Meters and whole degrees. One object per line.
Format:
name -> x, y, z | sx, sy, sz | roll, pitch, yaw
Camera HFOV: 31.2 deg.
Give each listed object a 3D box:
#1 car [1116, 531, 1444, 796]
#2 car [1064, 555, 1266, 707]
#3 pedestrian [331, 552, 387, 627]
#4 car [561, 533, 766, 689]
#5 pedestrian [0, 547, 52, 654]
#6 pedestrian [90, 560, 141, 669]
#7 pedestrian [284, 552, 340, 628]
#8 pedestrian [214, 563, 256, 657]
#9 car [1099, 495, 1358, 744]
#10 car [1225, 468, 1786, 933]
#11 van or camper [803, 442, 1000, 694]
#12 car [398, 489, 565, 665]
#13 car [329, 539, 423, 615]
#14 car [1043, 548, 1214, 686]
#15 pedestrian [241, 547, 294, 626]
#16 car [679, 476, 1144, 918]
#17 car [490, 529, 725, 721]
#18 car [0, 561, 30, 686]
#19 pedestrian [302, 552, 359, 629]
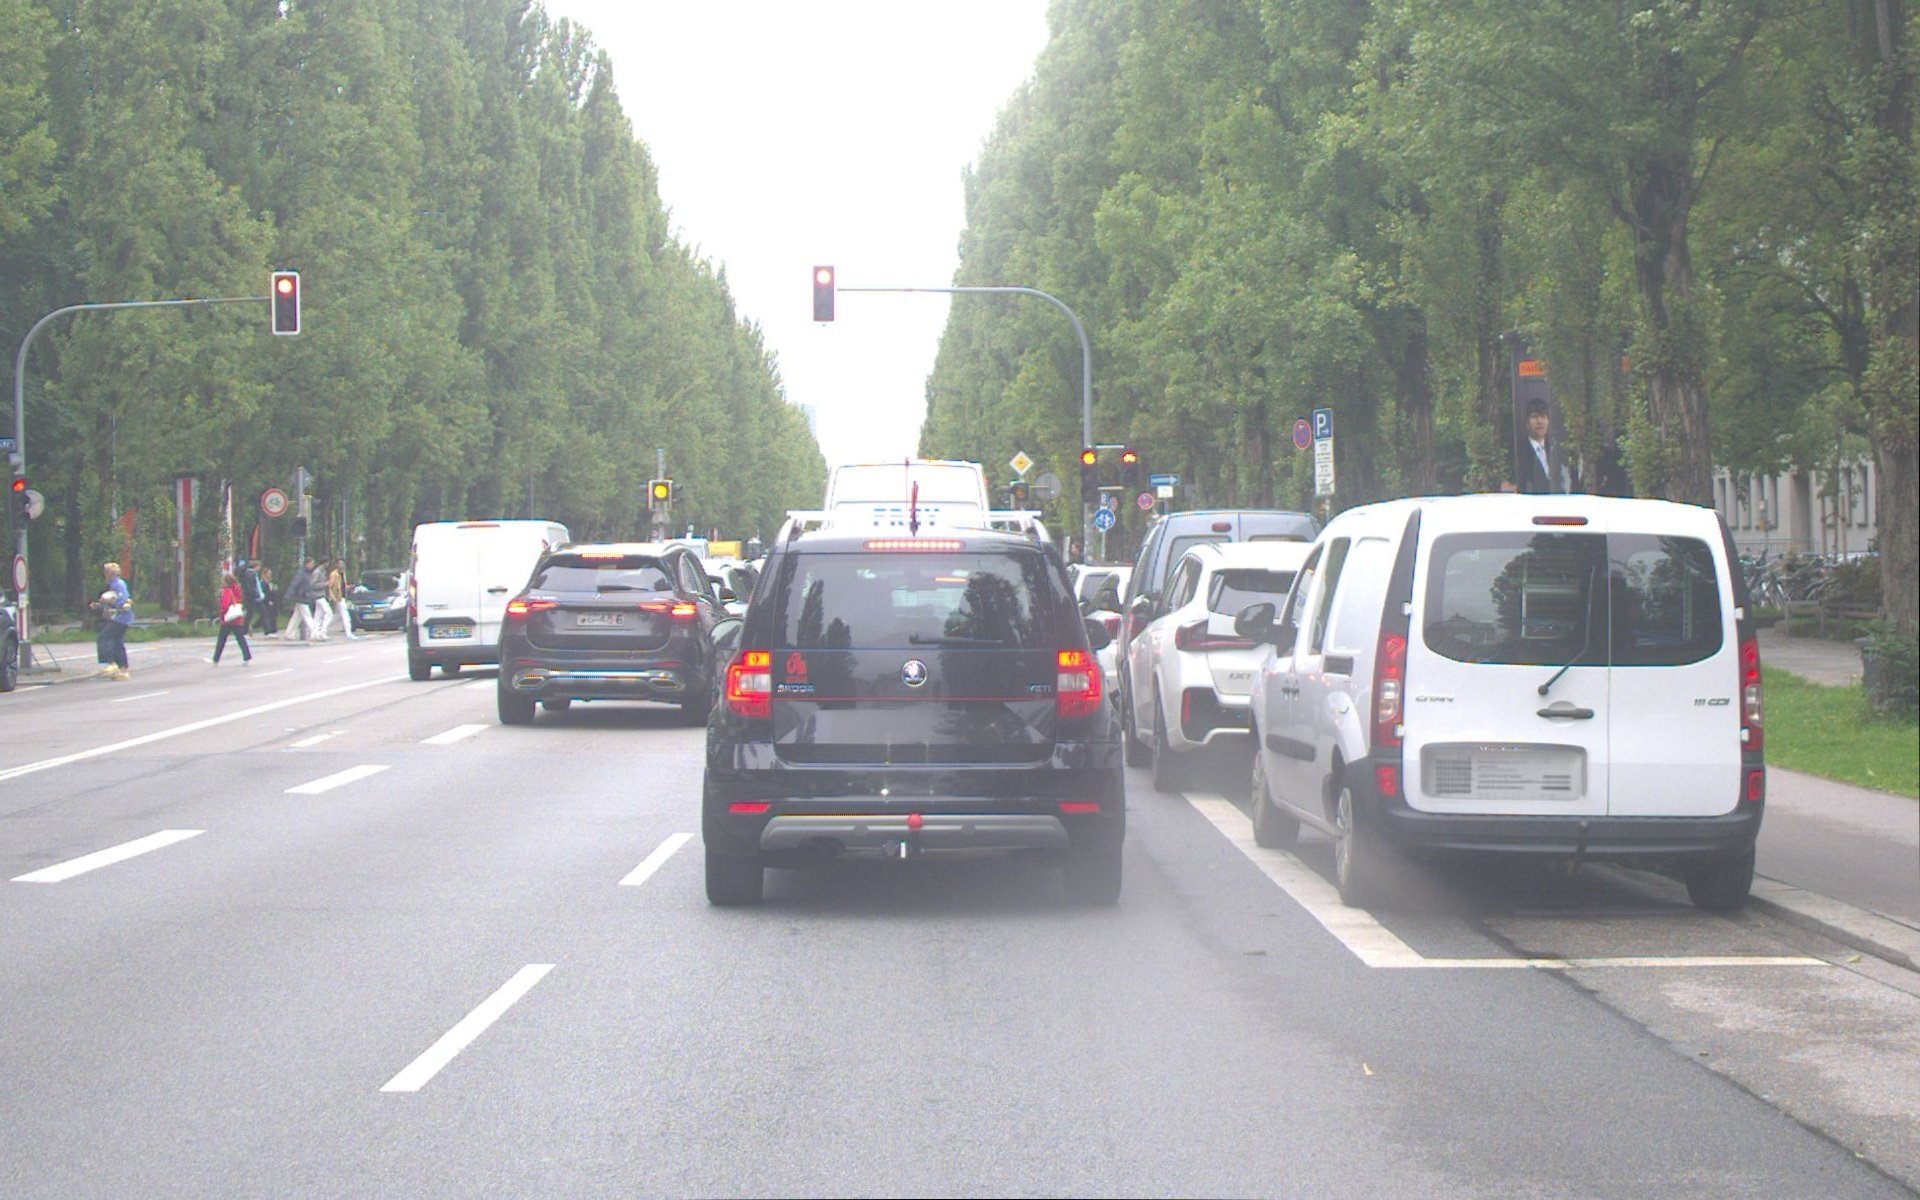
car -> 2.065, 0.347, 23.251 | 1.741, 1.587, 4.212 | -1, 1, -1
car -> 2.011, 0.274, 34.601 | 1.735, 1.382, 3.563 | -1, 1, -1
pedestrian -> -13.387, -0.237, 76.550 | 0.880, 1.649, 0.878 | -2, 1, -38
car -> -3.216, 0.076, 37.986 | 1.993, 1.555, 4.001 | -1, 2, -2
pedestrian -> -14.063, 0.002, 51.621 | 0.660, 1.572, 0.530 | -1, 1, 0
pedestrian -> -12.280, 0.206, 50.004 | 0.528, 1.572, 0.662 | -1, 1, 0
pedestrian -> -14.224, -0.223, 75.454 | 0.880, 1.649, 0.878 | -2, 1, -38
pedestrian -> -11.507, 0.154, 54.554 | 0.517, 1.480, 0.536 | -1, 1, 0
car -> 2.153, 0.104, 28.522 | 1.735, 1.889, 4.025 | -1, 1, -1
car -> 2.398, 0.366, 16.174 | 1.851, 1.875, 4.169 | -1, 1, -1
van or camper -> -0.683, -0.371, 37.236 | 1.975, 2.540, 4.025 | -1, 1, -2
car -> -6.028, -0.316, 43.660 | 1.781, 2.104, 4.025 | -1, 1, -4
car -> -14.399, -0.588, 84.890 | 1.688, 1.776, 3.775 | -1, 1, -1
car -> 1.914, 0.160, 39.902 | 1.735, 1.470, 3.563 | -1, 1, -1
pedestrian -> -15.618, -0.304, 77.534 | 0.880, 1.758, 0.878 | -1, 1, 9
car -> -0.219, 0.359, 15.949 | 1.855, 1.764, 4.000 | 1, 1, -1
car -> -3.174, 0.176, 31.630 | 1.781, 1.614, 4.025 | -1, 1, -1
car -> -13.710, 0.377, 45.173 | 1.849, 1.648, 4.696 | -3, 1, -3
pedestrian -> -13.687, -0.217, 74.734 | 0.880, 1.649, 0.878 | -2, 1, -38
